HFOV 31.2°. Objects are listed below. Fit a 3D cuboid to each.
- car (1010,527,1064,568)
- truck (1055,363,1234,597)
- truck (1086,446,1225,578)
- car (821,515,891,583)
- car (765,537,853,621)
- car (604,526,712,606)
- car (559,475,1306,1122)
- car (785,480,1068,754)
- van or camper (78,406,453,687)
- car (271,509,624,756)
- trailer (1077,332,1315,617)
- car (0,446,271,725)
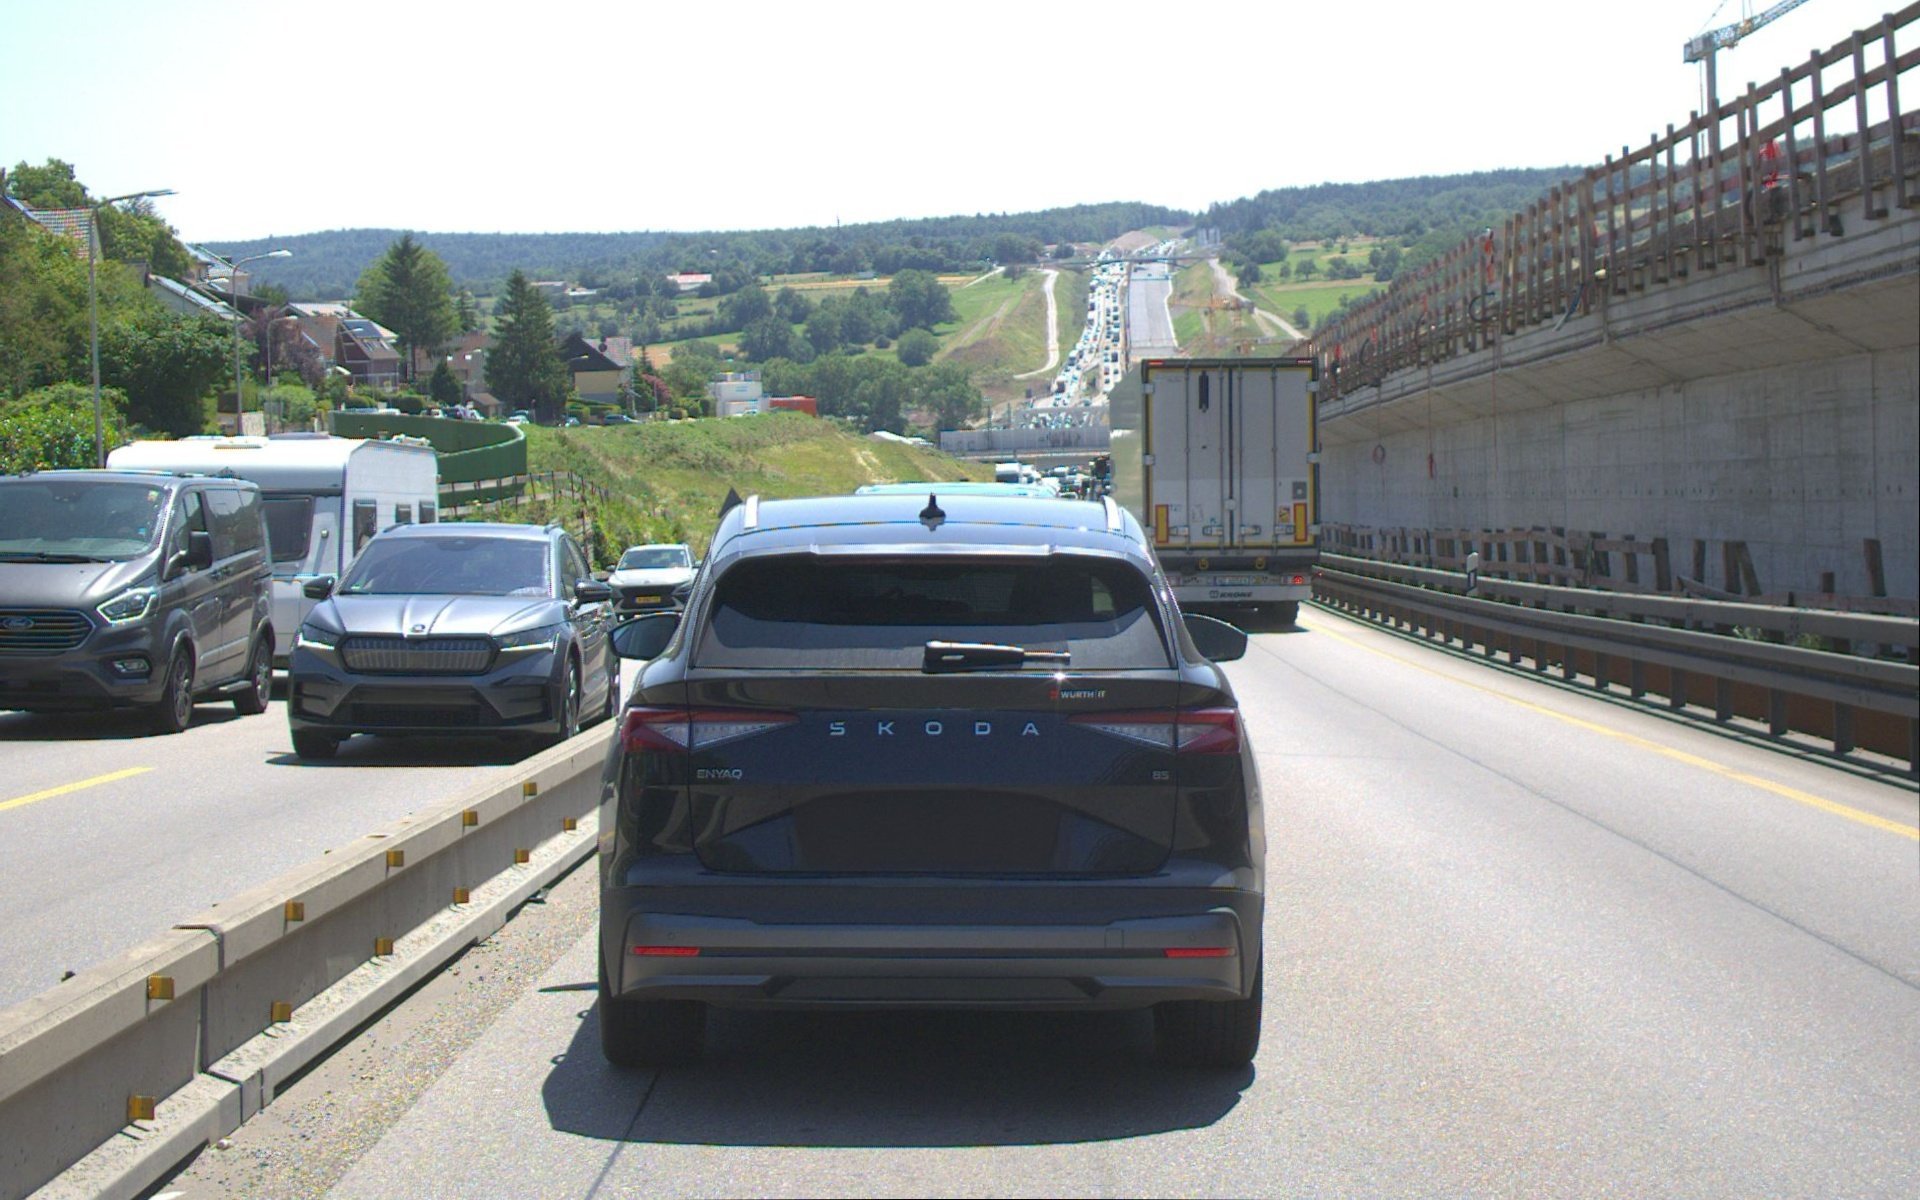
[{"bbox_3d":[3.097,-2.090,138.836,1.993,1.579,3.836,0,0,-2],"label":"car"},{"bbox_3d":[3.300,-2.063,63.380,2.513,4.011,8.238,0,0,-2],"label":"truck"},{"bbox_3d":[5.037,-2.207,90.906,3.195,3.180,12.808,0,0,1],"label":"truck"},{"bbox_3d":[-2.448,-1.196,81.448,1.547,1.543,3.238,0,0,0],"label":"car"},{"bbox_3d":[-2.864,-0.391,65.626,1.547,1.543,3.238,0,0,0],"label":"car"},{"bbox_3d":[-6.076,-0.669,69.617,1.842,1.538,4.178,0,0,-1],"label":"car"},{"bbox_3d":[-0.270,0.491,10.444,1.842,1.581,3.908,0,0,-6],"label":"car"},{"bbox_3d":[-0.331,0.064,25.694,1.706,1.875,4.001,0,2,-6],"label":"car"},{"bbox_3d":[-6.708,-0.484,34.064,2.354,2.507,6.327,0,0,1],"label":"van or camper"},{"bbox_3d":[-3.529,0.211,24.443,1.872,1.581,4.479,0,0,-1],"label":"car"},{"bbox_3d":[3.624,-1.820,55.681,2.531,4.113,11.549,0,0,-2],"label":"trailer"},{"bbox_3d":[-6.760,-0.107,26.827,1.993,2.007,4.000,0,0,-1],"label":"car"}]
